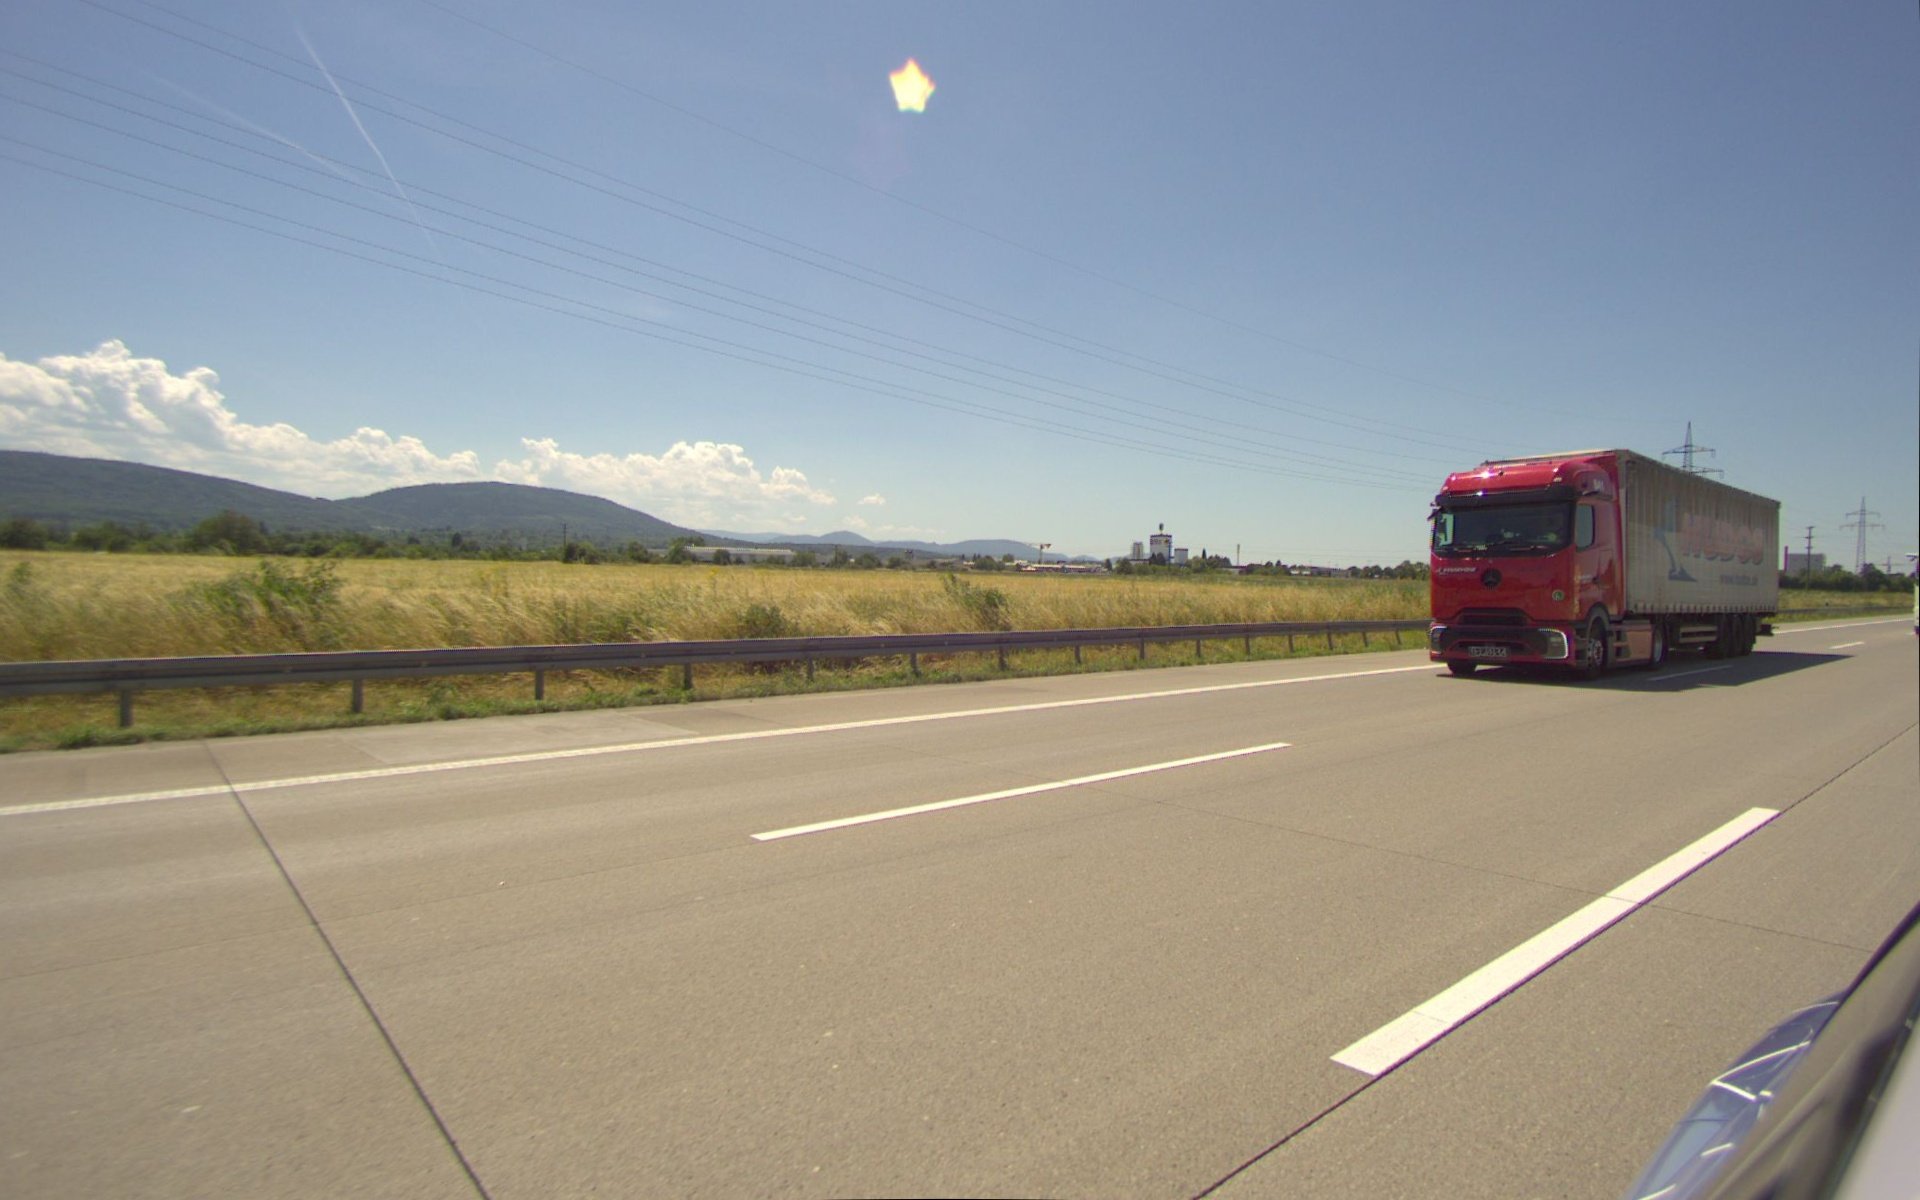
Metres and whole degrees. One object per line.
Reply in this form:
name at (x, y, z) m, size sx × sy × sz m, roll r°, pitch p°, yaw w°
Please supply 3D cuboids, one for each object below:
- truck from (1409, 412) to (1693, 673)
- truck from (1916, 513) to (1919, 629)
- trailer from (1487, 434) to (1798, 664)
truck at (11.361, -0.927, 19.236) m, size 6.163 × 4.152 × 2.910 m, roll 0°, pitch 0°, yaw -42°
truck at (37.037, -1.027, 36.671) m, size 5.382 × 4.114 × 2.989 m, roll 0°, pitch 0°, yaw -41°
trailer at (16.520, -0.940, 23.740) m, size 13.279 × 4.152 × 2.878 m, roll 0°, pitch 0°, yaw -42°
